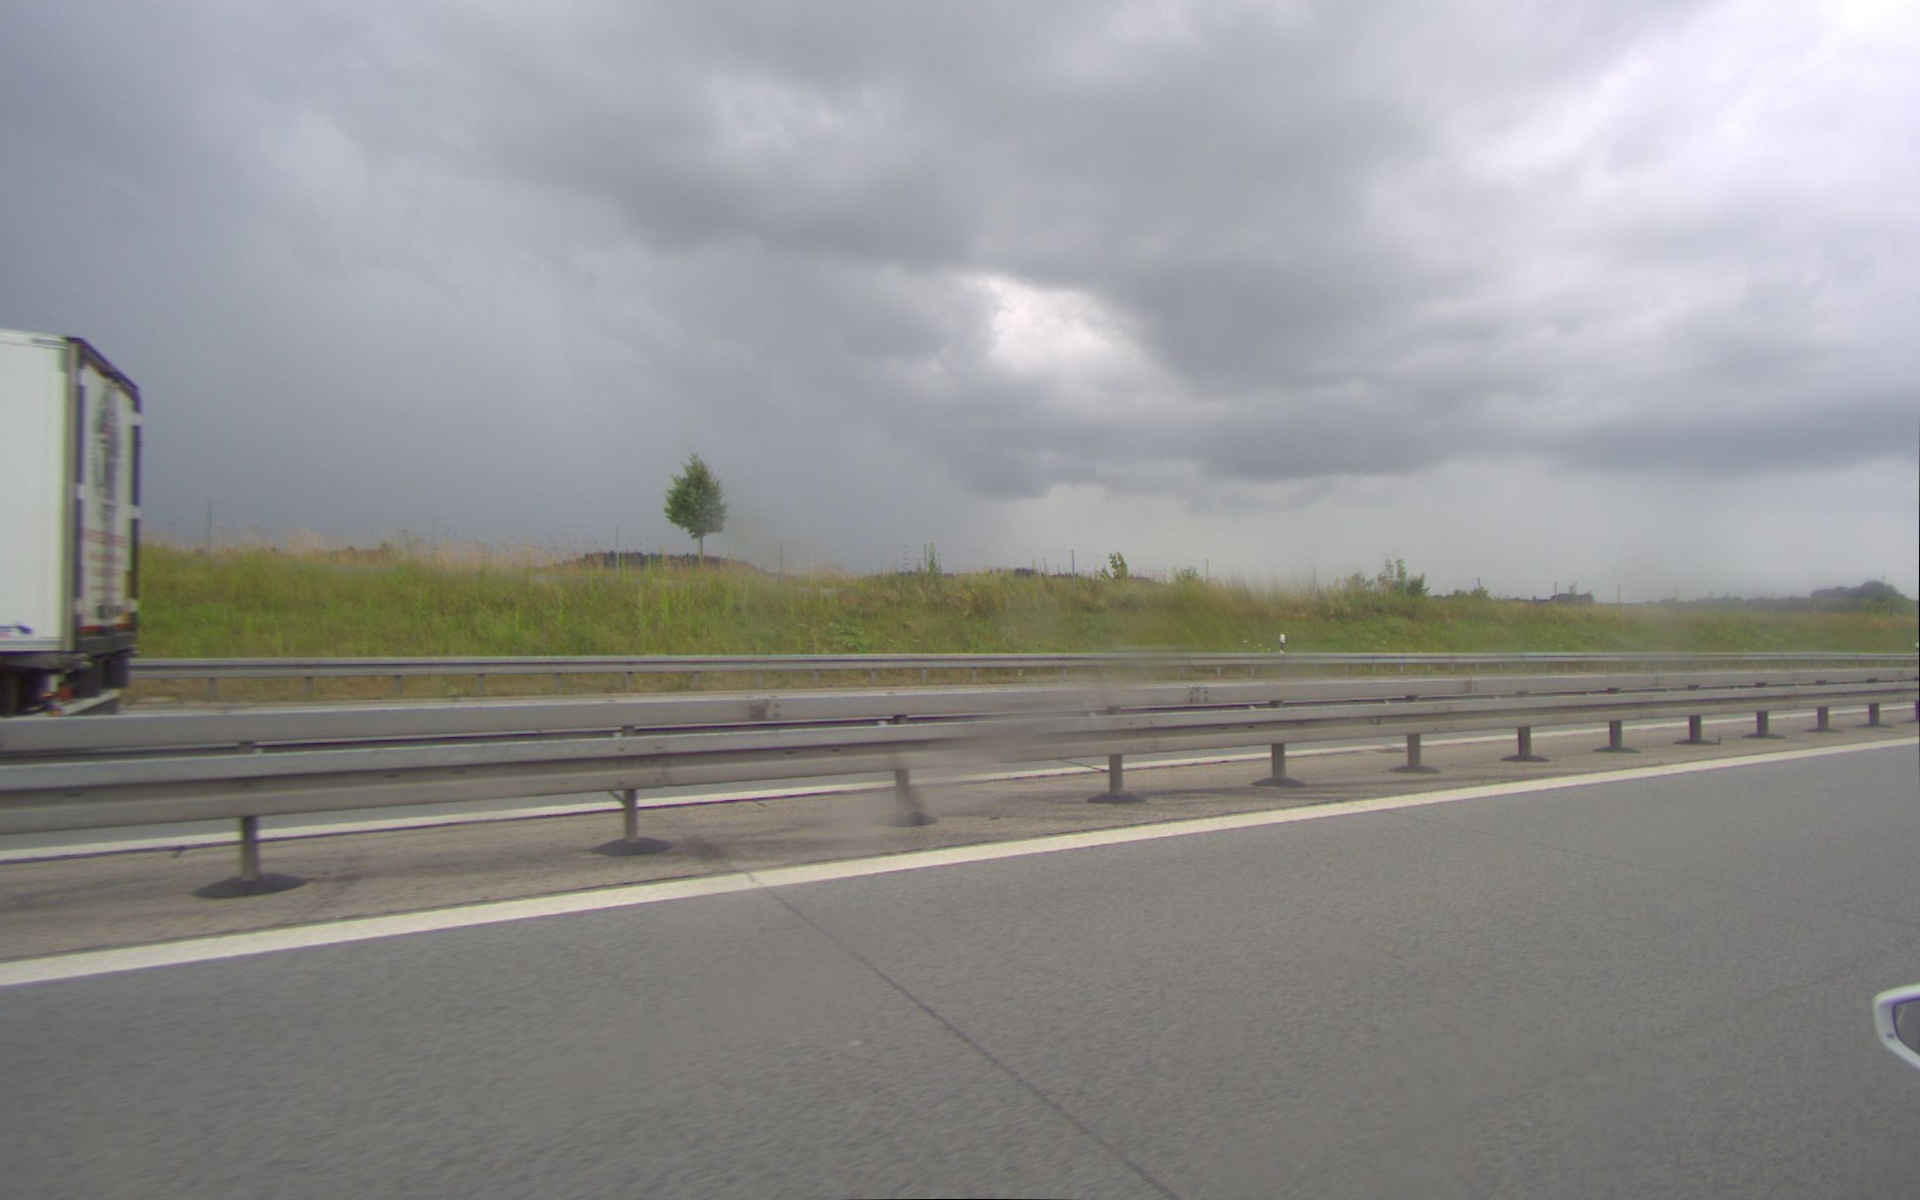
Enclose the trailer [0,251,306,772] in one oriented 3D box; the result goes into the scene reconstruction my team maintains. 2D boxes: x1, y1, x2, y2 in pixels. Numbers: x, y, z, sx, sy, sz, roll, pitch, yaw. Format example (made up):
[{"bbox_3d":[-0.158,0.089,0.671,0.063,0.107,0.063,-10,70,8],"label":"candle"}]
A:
[{"bbox_3d":[-13.845,-0.907,7.591,14.675,4.712,2.782,2,-1,-31],"label":"trailer"}]
